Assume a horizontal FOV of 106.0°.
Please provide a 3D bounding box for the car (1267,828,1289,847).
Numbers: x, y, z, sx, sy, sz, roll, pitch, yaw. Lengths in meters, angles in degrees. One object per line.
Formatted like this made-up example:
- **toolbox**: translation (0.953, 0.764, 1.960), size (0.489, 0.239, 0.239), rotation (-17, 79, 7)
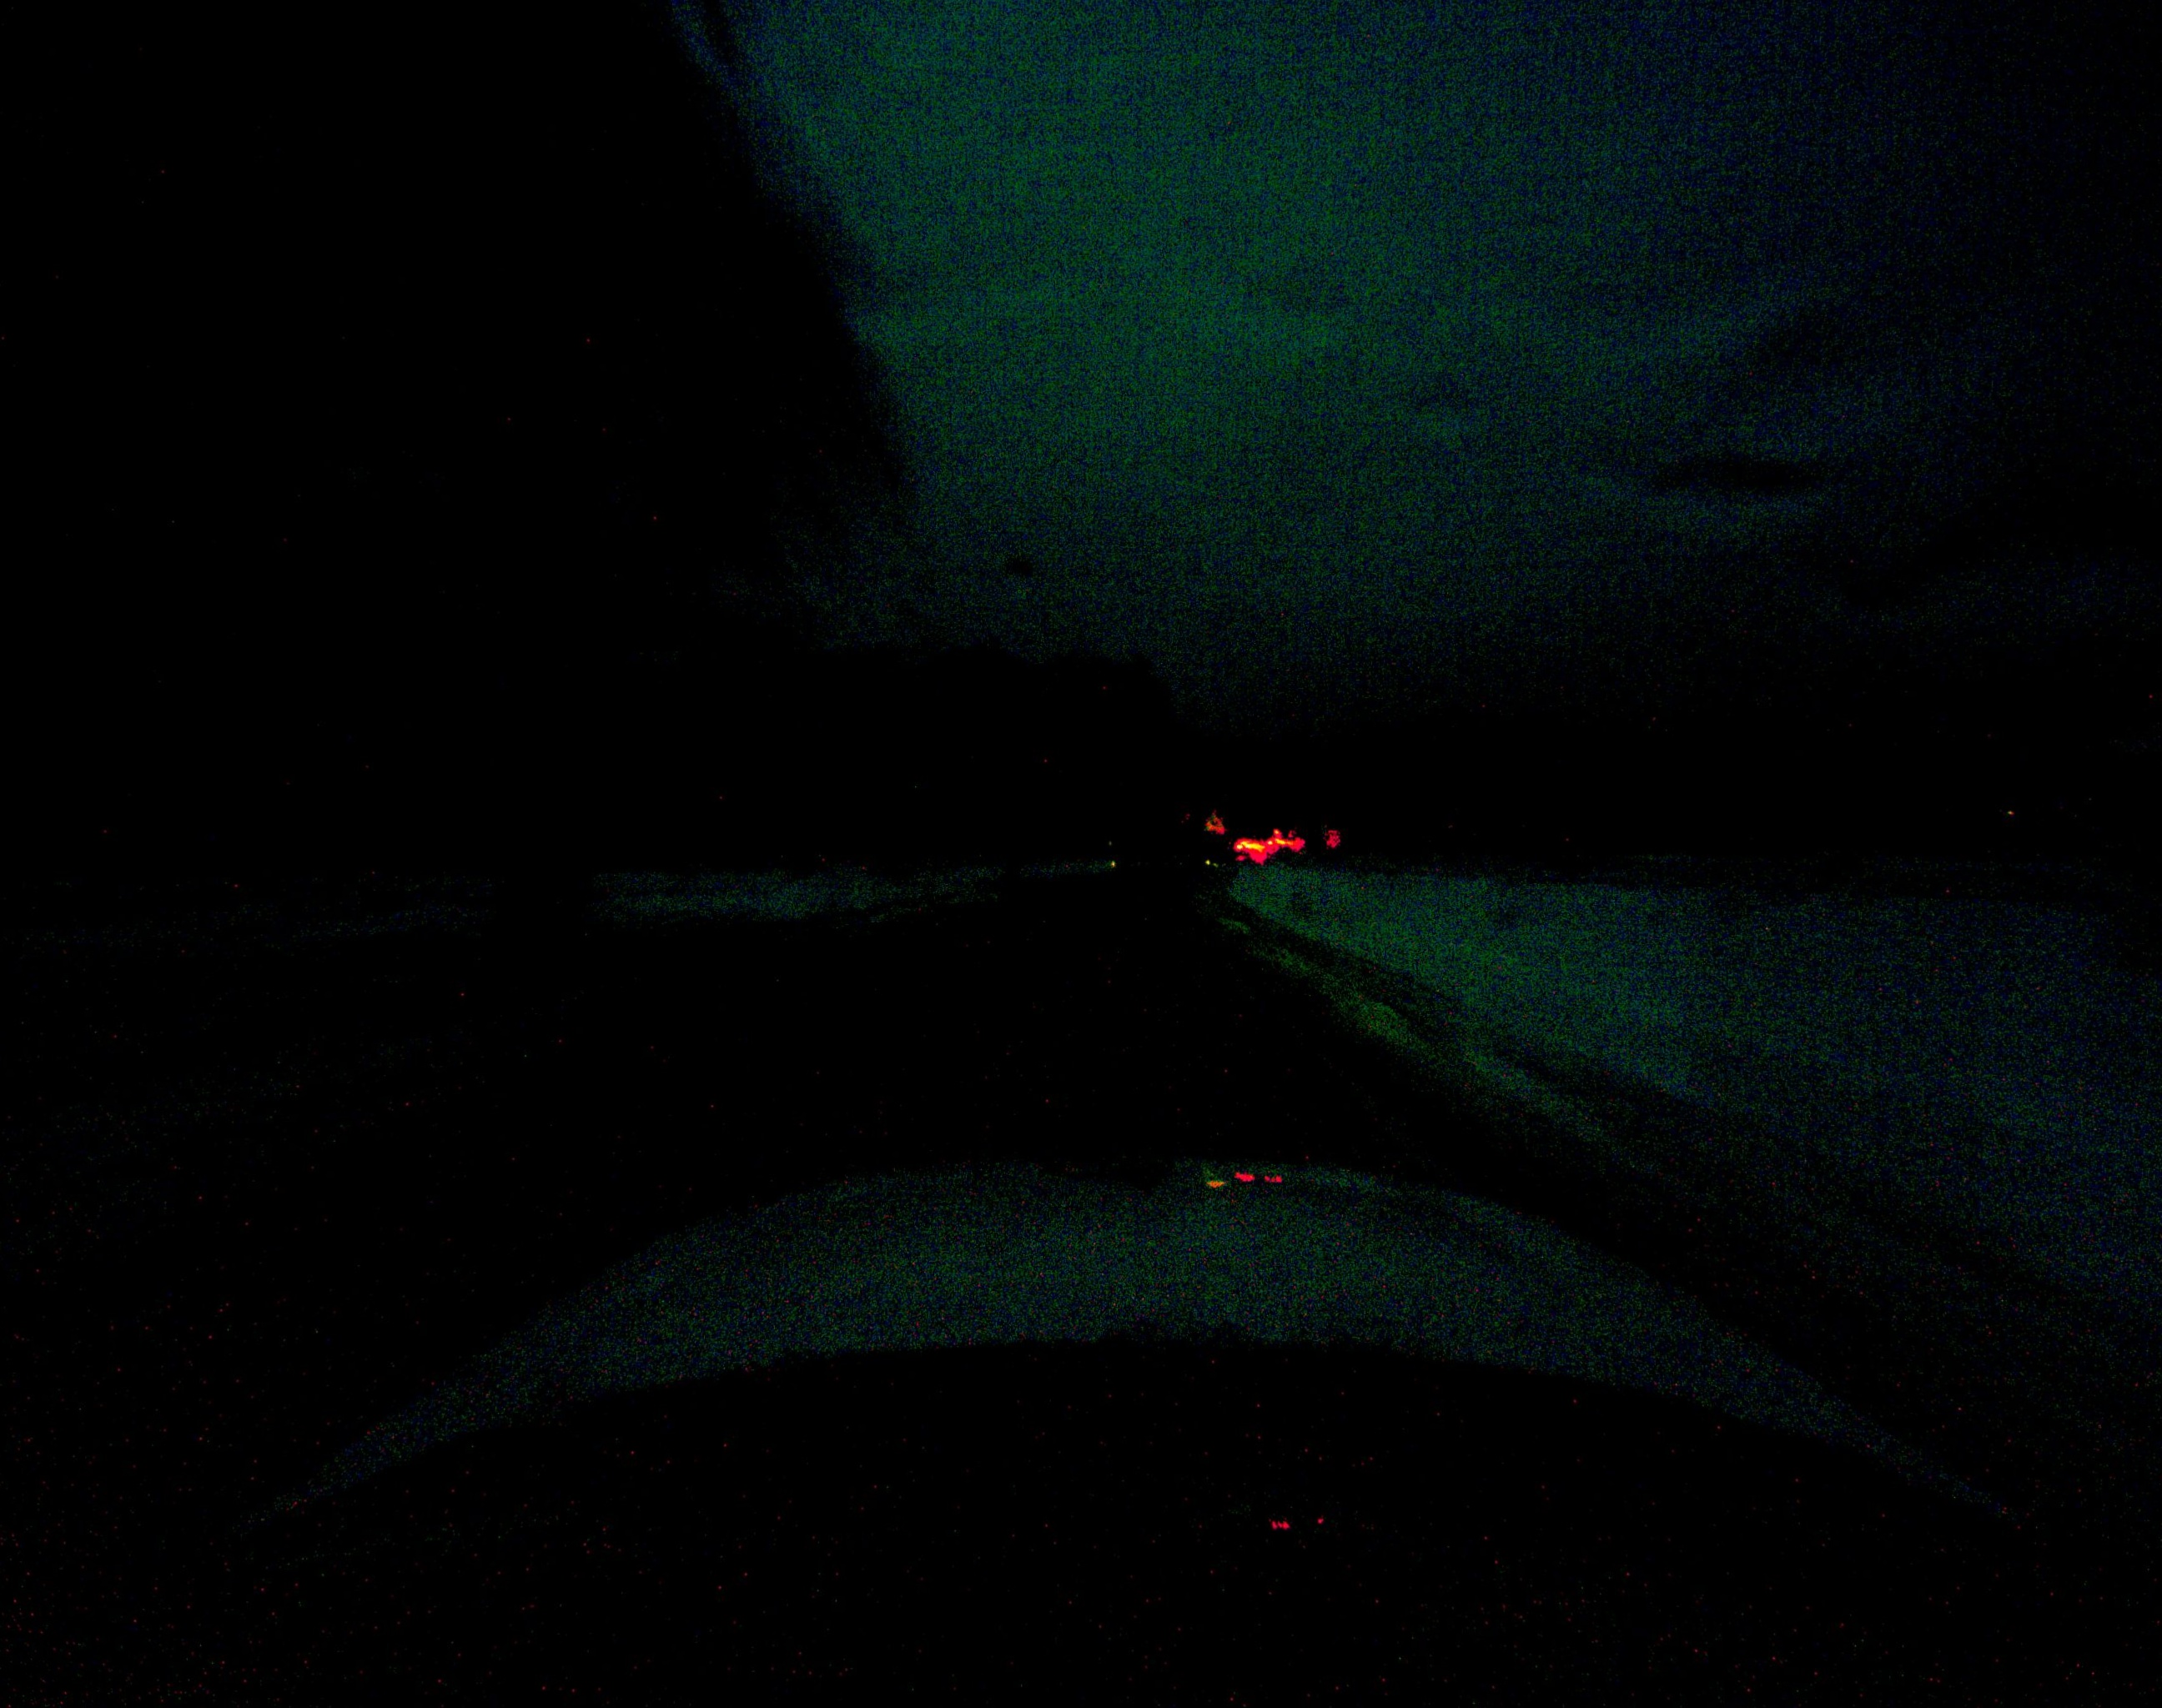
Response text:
- **car**: translation (28.937, -2.426, 119.658), size (2.232, 2.645, 5.035), rotation (-2, 1, 24)

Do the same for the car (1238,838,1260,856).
- **car**: translation (20.049, -0.835, 97.156), size (1.977, 2.051, 4.020), rotation (0, 1, 19)
